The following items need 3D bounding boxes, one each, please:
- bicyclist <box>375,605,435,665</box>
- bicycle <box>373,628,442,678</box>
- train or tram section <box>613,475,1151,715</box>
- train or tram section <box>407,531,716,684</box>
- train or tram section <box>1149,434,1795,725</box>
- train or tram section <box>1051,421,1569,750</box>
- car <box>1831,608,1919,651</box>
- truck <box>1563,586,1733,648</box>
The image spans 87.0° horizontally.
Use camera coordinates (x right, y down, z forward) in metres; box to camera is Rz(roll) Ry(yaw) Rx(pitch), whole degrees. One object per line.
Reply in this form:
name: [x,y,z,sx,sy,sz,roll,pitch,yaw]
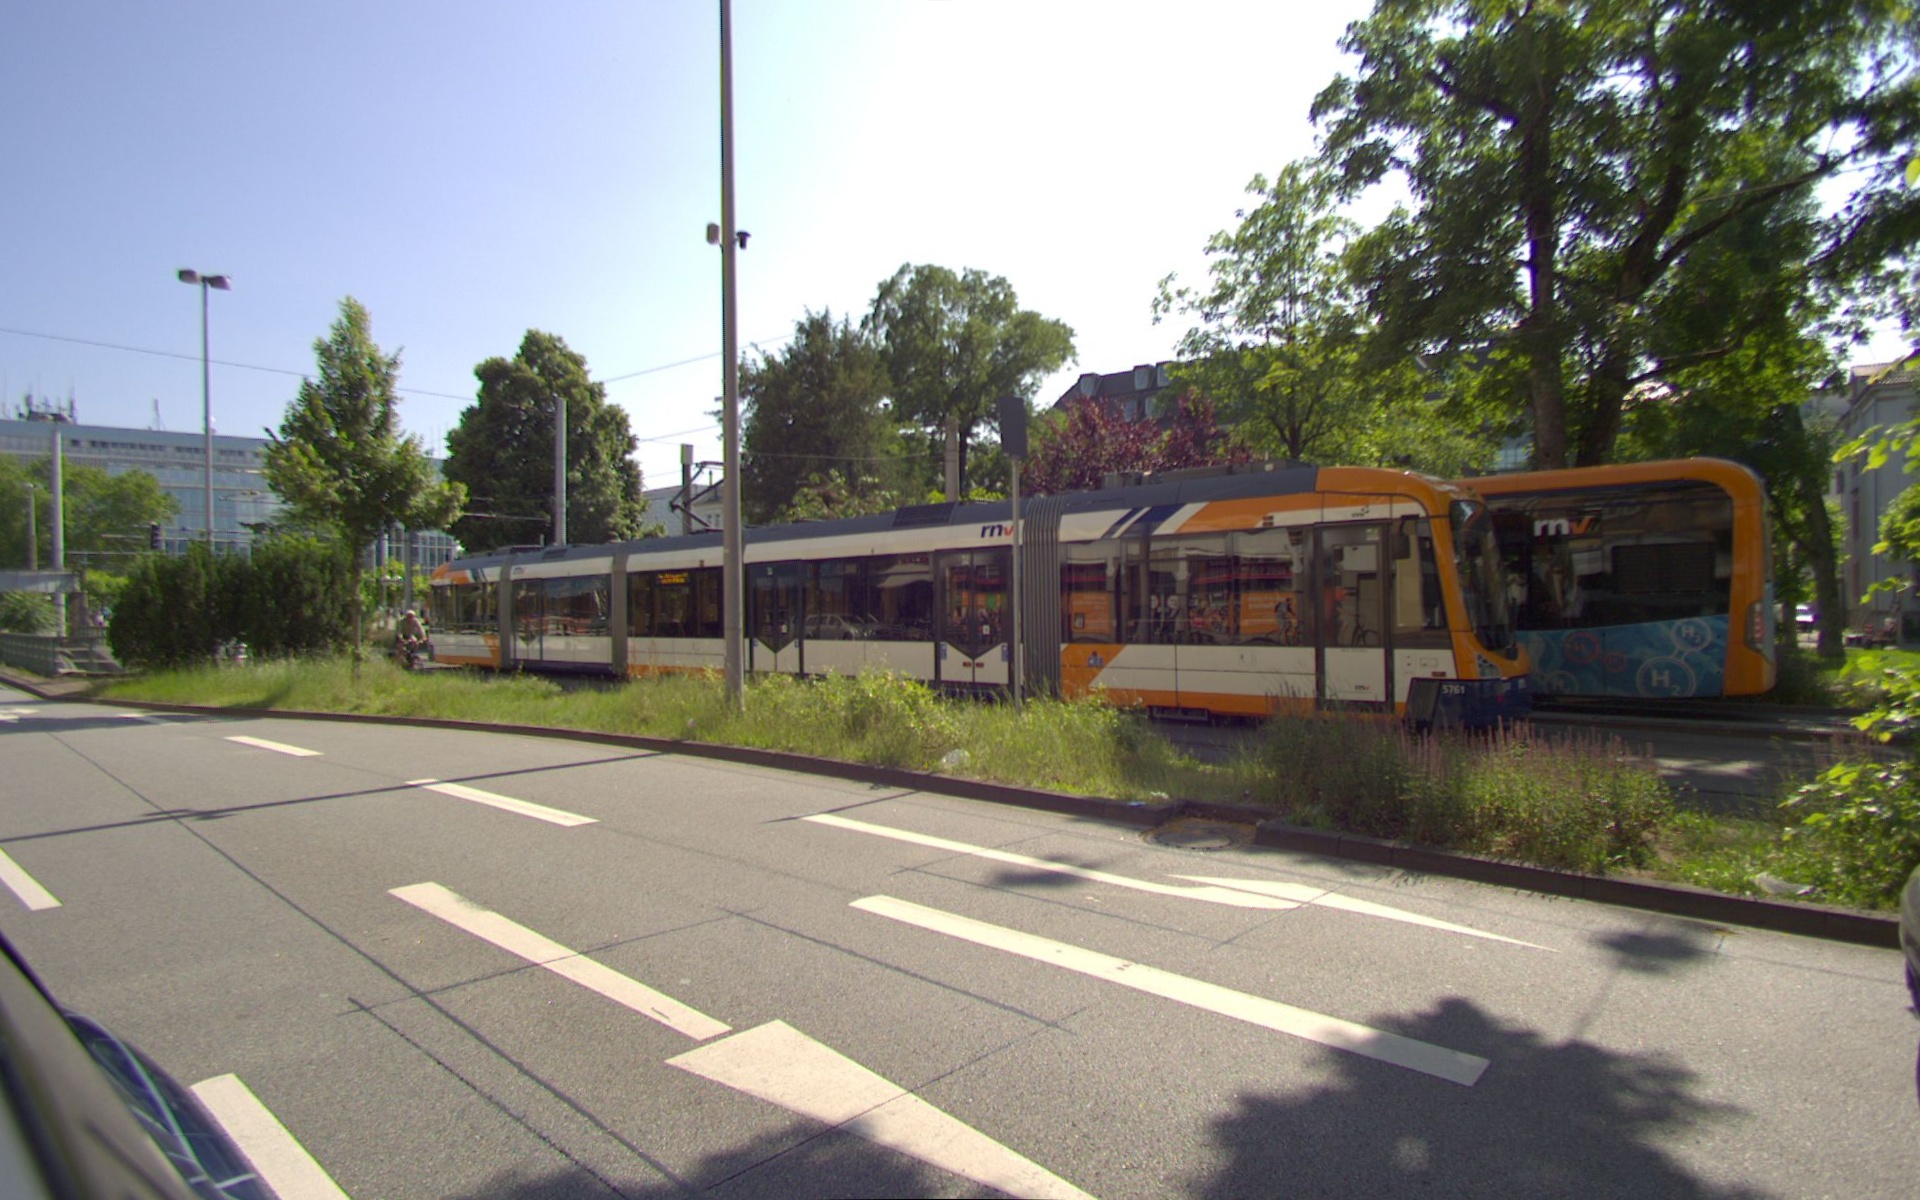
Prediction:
bicyclist: [-13.307,0.826,24.268,1.232,1.404,0.901,-2,-2,41]
bicycle: [-13.234,1.243,24.213,2.495,1.091,0.635,-1,0,41]
train or tram section: [-2.378,0.077,19.695,12.410,3.429,2.730,-2,-2,43]
train or tram section: [-11.473,0.313,27.938,12.408,3.429,2.730,-2,-2,42]
train or tram section: [7.162,-0.146,15.461,8.529,3.415,2.045,-2,-2,41]
train or tram section: [4.441,-0.117,13.506,5.884,3.429,2.731,-2,0,41]
car: [46.570,1.458,51.440,1.986,2.029,4.525,-1,0,21]
truck: [38.117,1.002,56.299,7.642,3.240,2.435,-1,-2,37]
